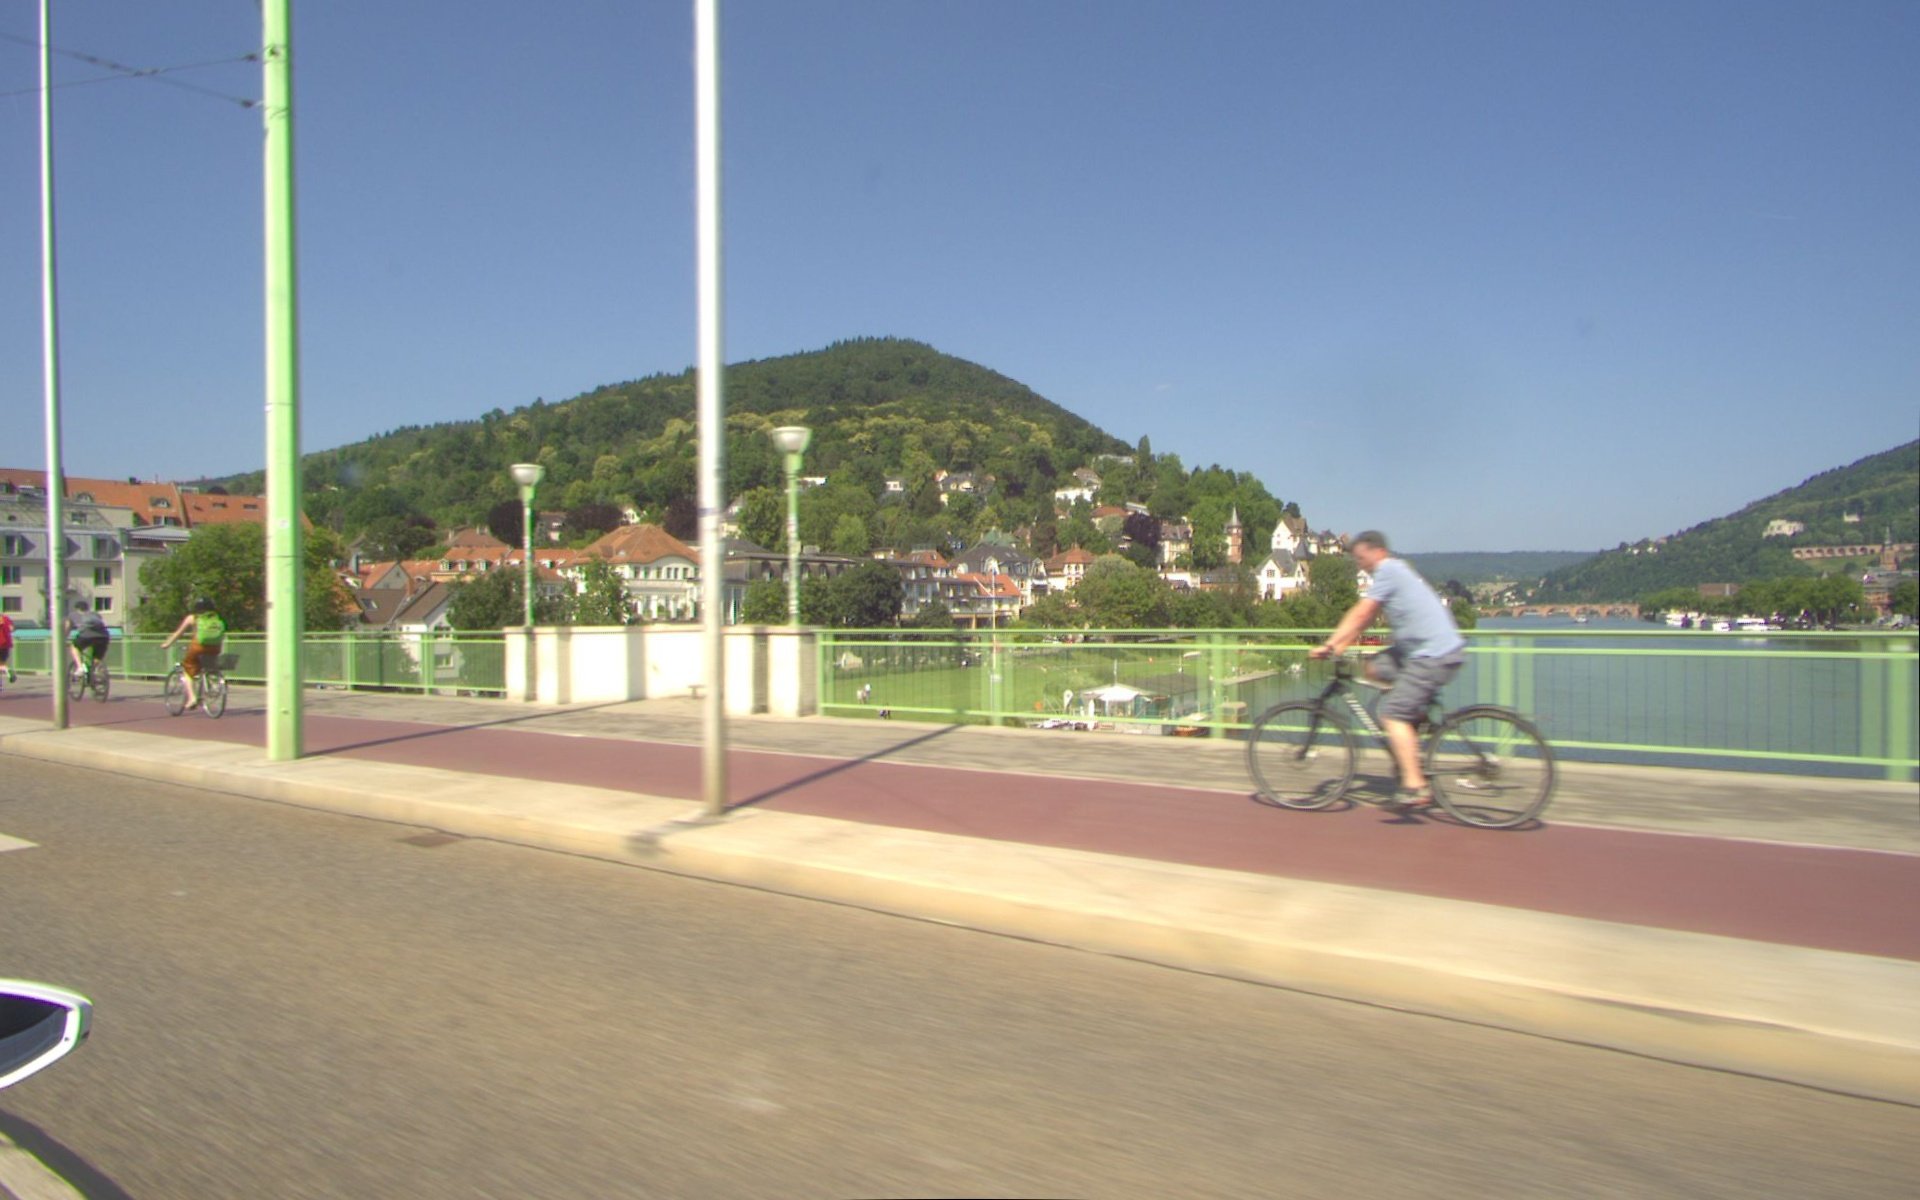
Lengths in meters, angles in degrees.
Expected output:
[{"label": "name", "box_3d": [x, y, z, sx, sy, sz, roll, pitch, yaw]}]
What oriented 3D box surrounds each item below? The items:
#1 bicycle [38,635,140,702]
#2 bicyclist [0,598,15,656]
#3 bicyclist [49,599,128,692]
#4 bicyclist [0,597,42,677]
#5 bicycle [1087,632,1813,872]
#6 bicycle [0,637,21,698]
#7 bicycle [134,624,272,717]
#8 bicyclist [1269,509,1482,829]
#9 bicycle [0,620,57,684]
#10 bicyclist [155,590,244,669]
[{"label": "bicycle", "box_3d": [-14.769, 1.136, 16.964, 2.232, 1.051, 0.617, -1, 0, 30]}, {"label": "bicyclist", "box_3d": [-17.845, 0.493, 18.158, 1.158, 1.044, 0.734, 0, 0, 30]}, {"label": "bicyclist", "box_3d": [-14.804, 0.752, 17.015, 0.966, 1.520, 0.734, 0, 0, 30]}, {"label": "bicyclist", "box_3d": [-19.957, 0.767, 21.059, 0.854, 1.657, 0.734, 0, 0, 30]}, {"label": "bicycle", "box_3d": [2.641, 0.771, 6.017, 3.686, 1.110, 0.791, -1, 0, 28]}, {"label": "bicycle", "box_3d": [-17.838, 1.210, 18.171, 2.020, 1.051, 0.617, -1, 0, 30]}, {"label": "bicycle", "box_3d": [-10.568, 0.957, 13.968, 2.046, 1.209, 0.694, -1, 0, 27]}, {"label": "bicyclist", "box_3d": [2.528, 0.391, 6.087, 1.132, 1.767, 0.672, 0, 1, 28]}, {"label": "bicycle", "box_3d": [-19.886, 1.077, 21.114, 2.183, 1.287, 0.617, -1, 0, 30]}, {"label": "bicyclist", "box_3d": [-10.577, 0.402, 13.933, 0.965, 1.058, 0.666, 0, 0, 29]}]
